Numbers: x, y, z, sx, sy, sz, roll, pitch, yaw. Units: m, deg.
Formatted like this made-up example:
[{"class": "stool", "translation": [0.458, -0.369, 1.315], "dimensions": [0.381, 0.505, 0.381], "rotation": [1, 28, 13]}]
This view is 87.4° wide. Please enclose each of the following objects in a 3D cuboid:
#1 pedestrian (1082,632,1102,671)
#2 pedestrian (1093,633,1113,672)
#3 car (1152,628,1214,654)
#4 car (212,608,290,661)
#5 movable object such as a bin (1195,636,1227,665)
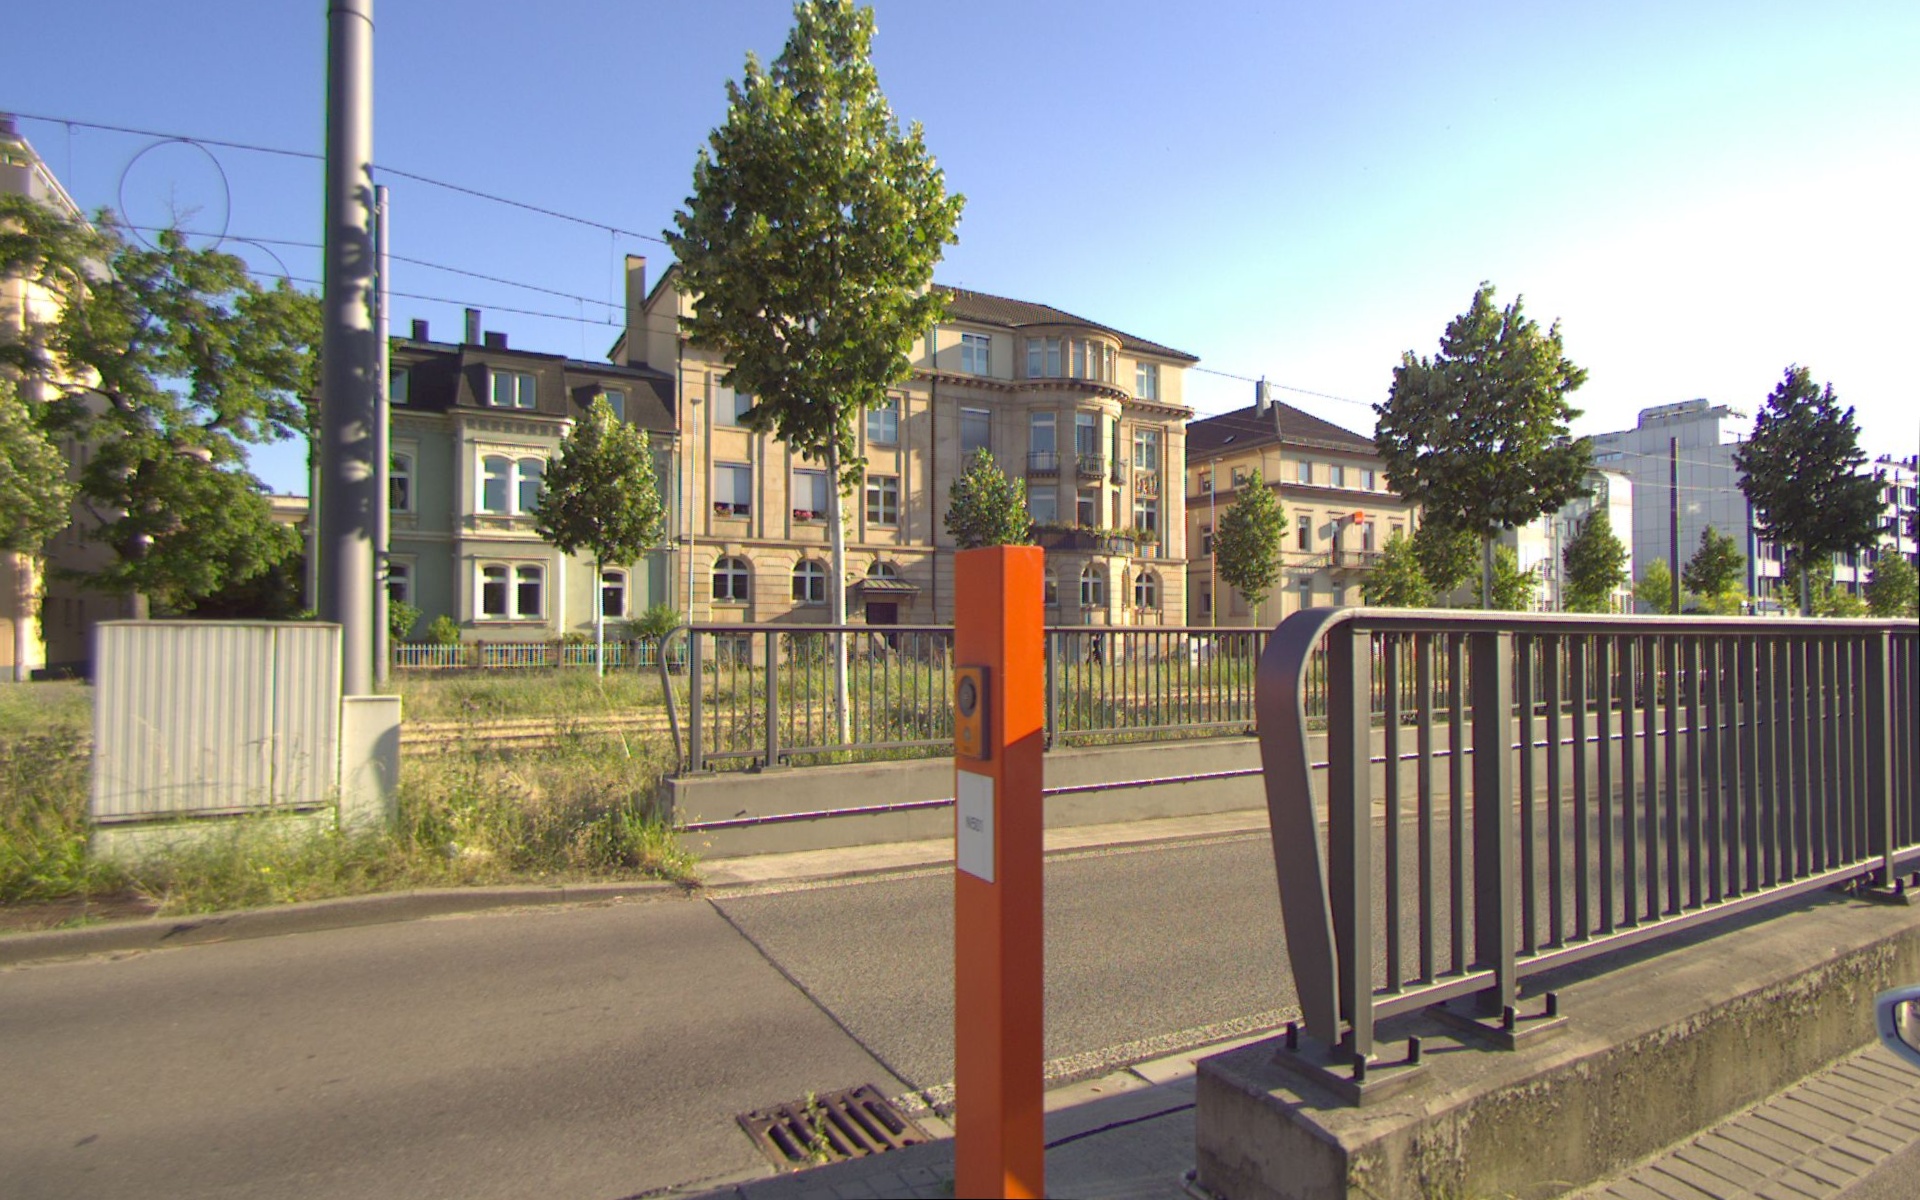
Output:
[{"class": "pedestrian", "translation": [6.025, 2.349, 45.778], "dimensions": [0.645, 1.743, 0.653], "rotation": [1, -2, -30]}, {"class": "pedestrian", "translation": [6.409, 2.333, 45.036], "dimensions": [0.645, 1.743, 0.553], "rotation": [1, -2, -30]}, {"class": "car", "translation": [14.199, 2.604, 64.211], "dimensions": [1.661, 1.488, 3.971], "rotation": [2, -1, -28]}, {"class": "car", "translation": [-28.837, 1.397, 40.976], "dimensions": [1.974, 2.073, 3.973], "rotation": [1, -2, -27]}, {"class": "movable object such as a bin", "translation": [12.696, 2.537, 50.855], "dimensions": [1.067, 1.447, 1.200], "rotation": [0, -2, -30]}]
